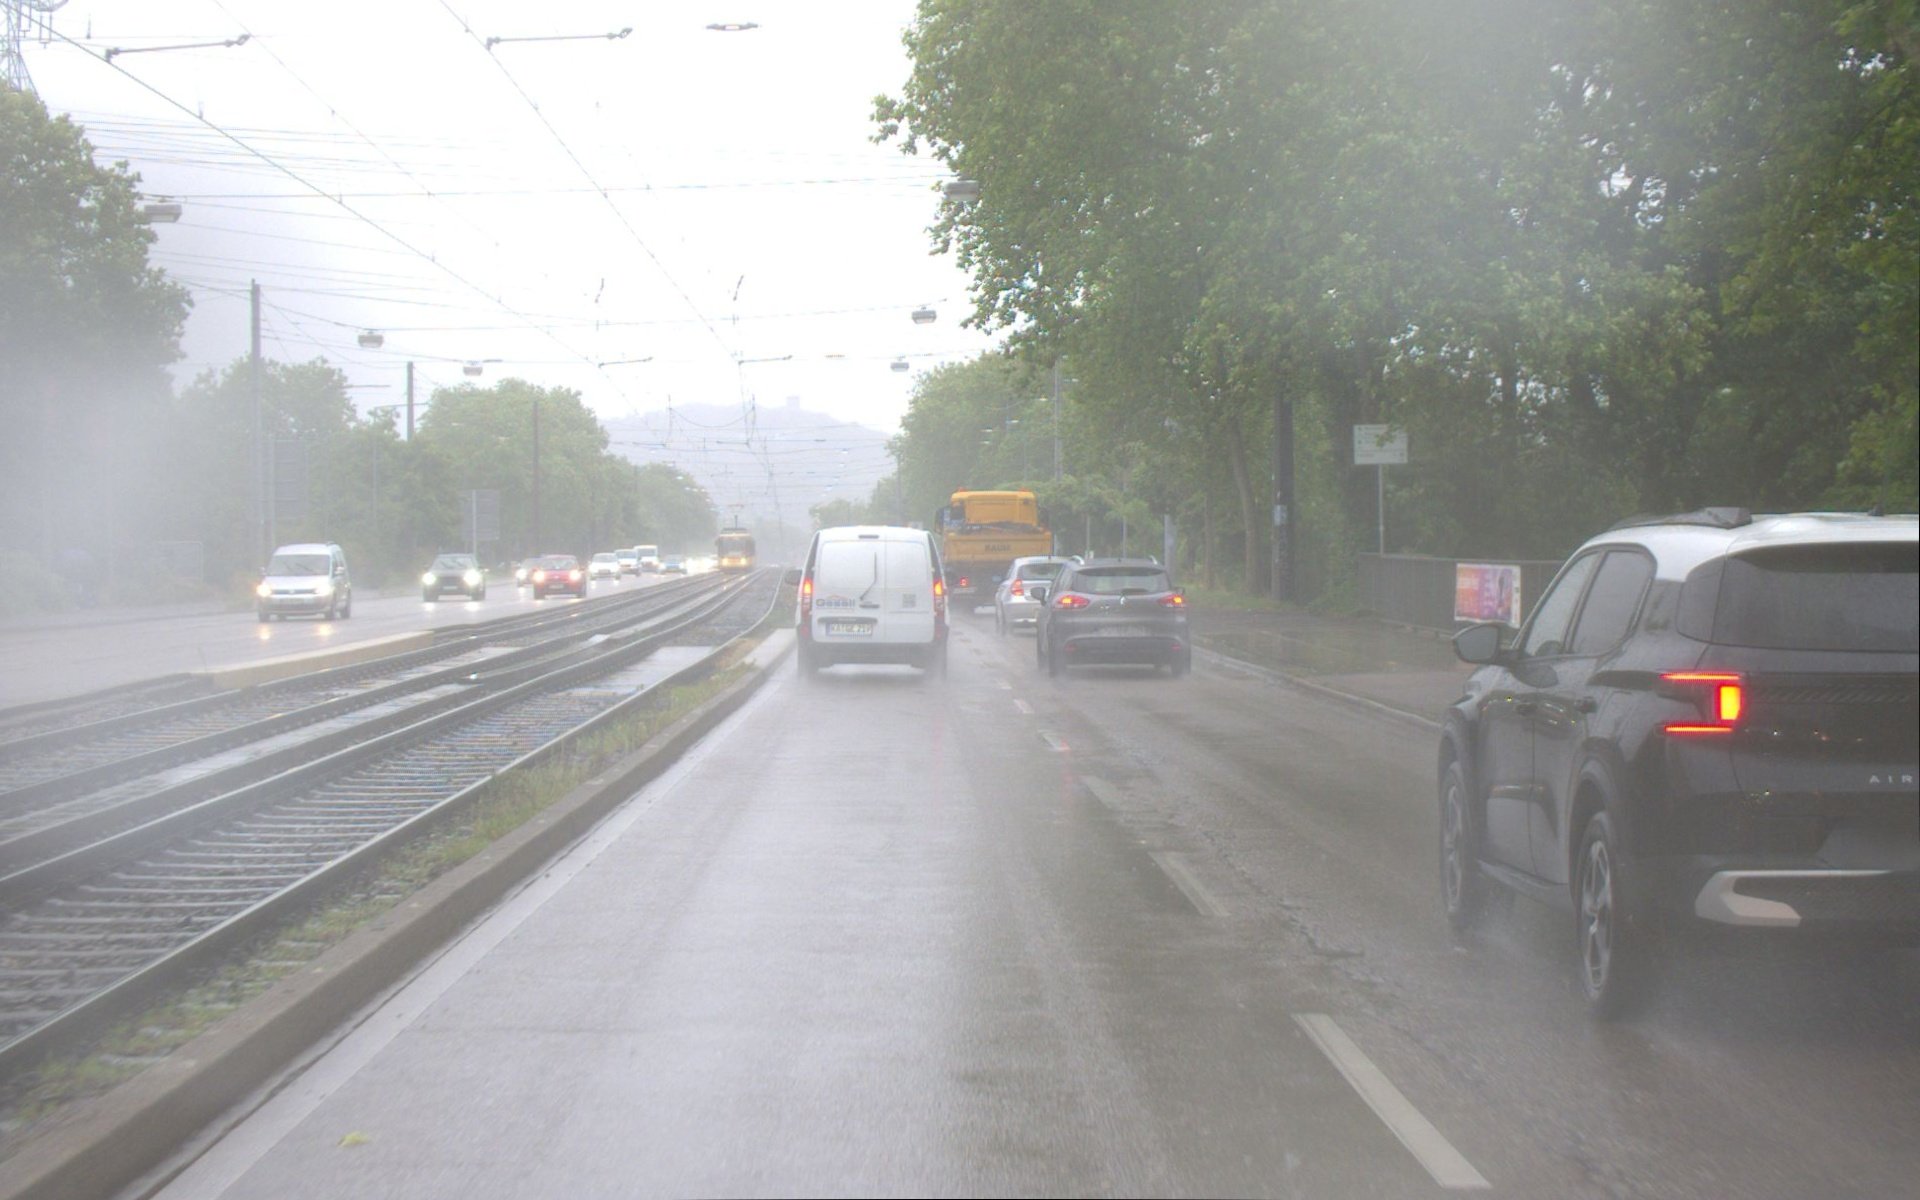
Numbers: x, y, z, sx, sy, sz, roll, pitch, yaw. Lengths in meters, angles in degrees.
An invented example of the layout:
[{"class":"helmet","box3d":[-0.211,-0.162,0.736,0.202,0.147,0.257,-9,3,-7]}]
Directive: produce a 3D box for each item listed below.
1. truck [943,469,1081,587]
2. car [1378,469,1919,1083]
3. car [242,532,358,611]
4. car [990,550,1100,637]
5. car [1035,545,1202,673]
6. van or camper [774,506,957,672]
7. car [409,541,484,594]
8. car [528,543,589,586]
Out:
[{"class":"truck","box3d":[1.215,-1.783,84.308,3.112,2.763,6.330,0,1,-1]},{"class":"car","box3d":[2.810,0.422,11.986,1.899,1.711,4.726,1,2,-3]},{"class":"car","box3d":[-15.745,-0.711,82.244,1.993,1.809,4.660,0,1,-2]},{"class":"car","box3d":[1.499,-0.141,61.880,1.818,1.409,3.779,1,2,0]},{"class":"car","box3d":[1.904,0.076,42.296,1.818,1.409,3.779,1,2,0]},{"class":"van or camper","box3d":[-1.172,-0.181,40.931,1.993,1.778,4.001,1,2,-4]},{"class":"car","box3d":[-17.885,-1.148,119.915,1.993,1.809,4.000,0,1,0]},{"class":"car","box3d":[-14.135,-1.268,121.096,1.657,1.481,4.013,0,1,0]}]
